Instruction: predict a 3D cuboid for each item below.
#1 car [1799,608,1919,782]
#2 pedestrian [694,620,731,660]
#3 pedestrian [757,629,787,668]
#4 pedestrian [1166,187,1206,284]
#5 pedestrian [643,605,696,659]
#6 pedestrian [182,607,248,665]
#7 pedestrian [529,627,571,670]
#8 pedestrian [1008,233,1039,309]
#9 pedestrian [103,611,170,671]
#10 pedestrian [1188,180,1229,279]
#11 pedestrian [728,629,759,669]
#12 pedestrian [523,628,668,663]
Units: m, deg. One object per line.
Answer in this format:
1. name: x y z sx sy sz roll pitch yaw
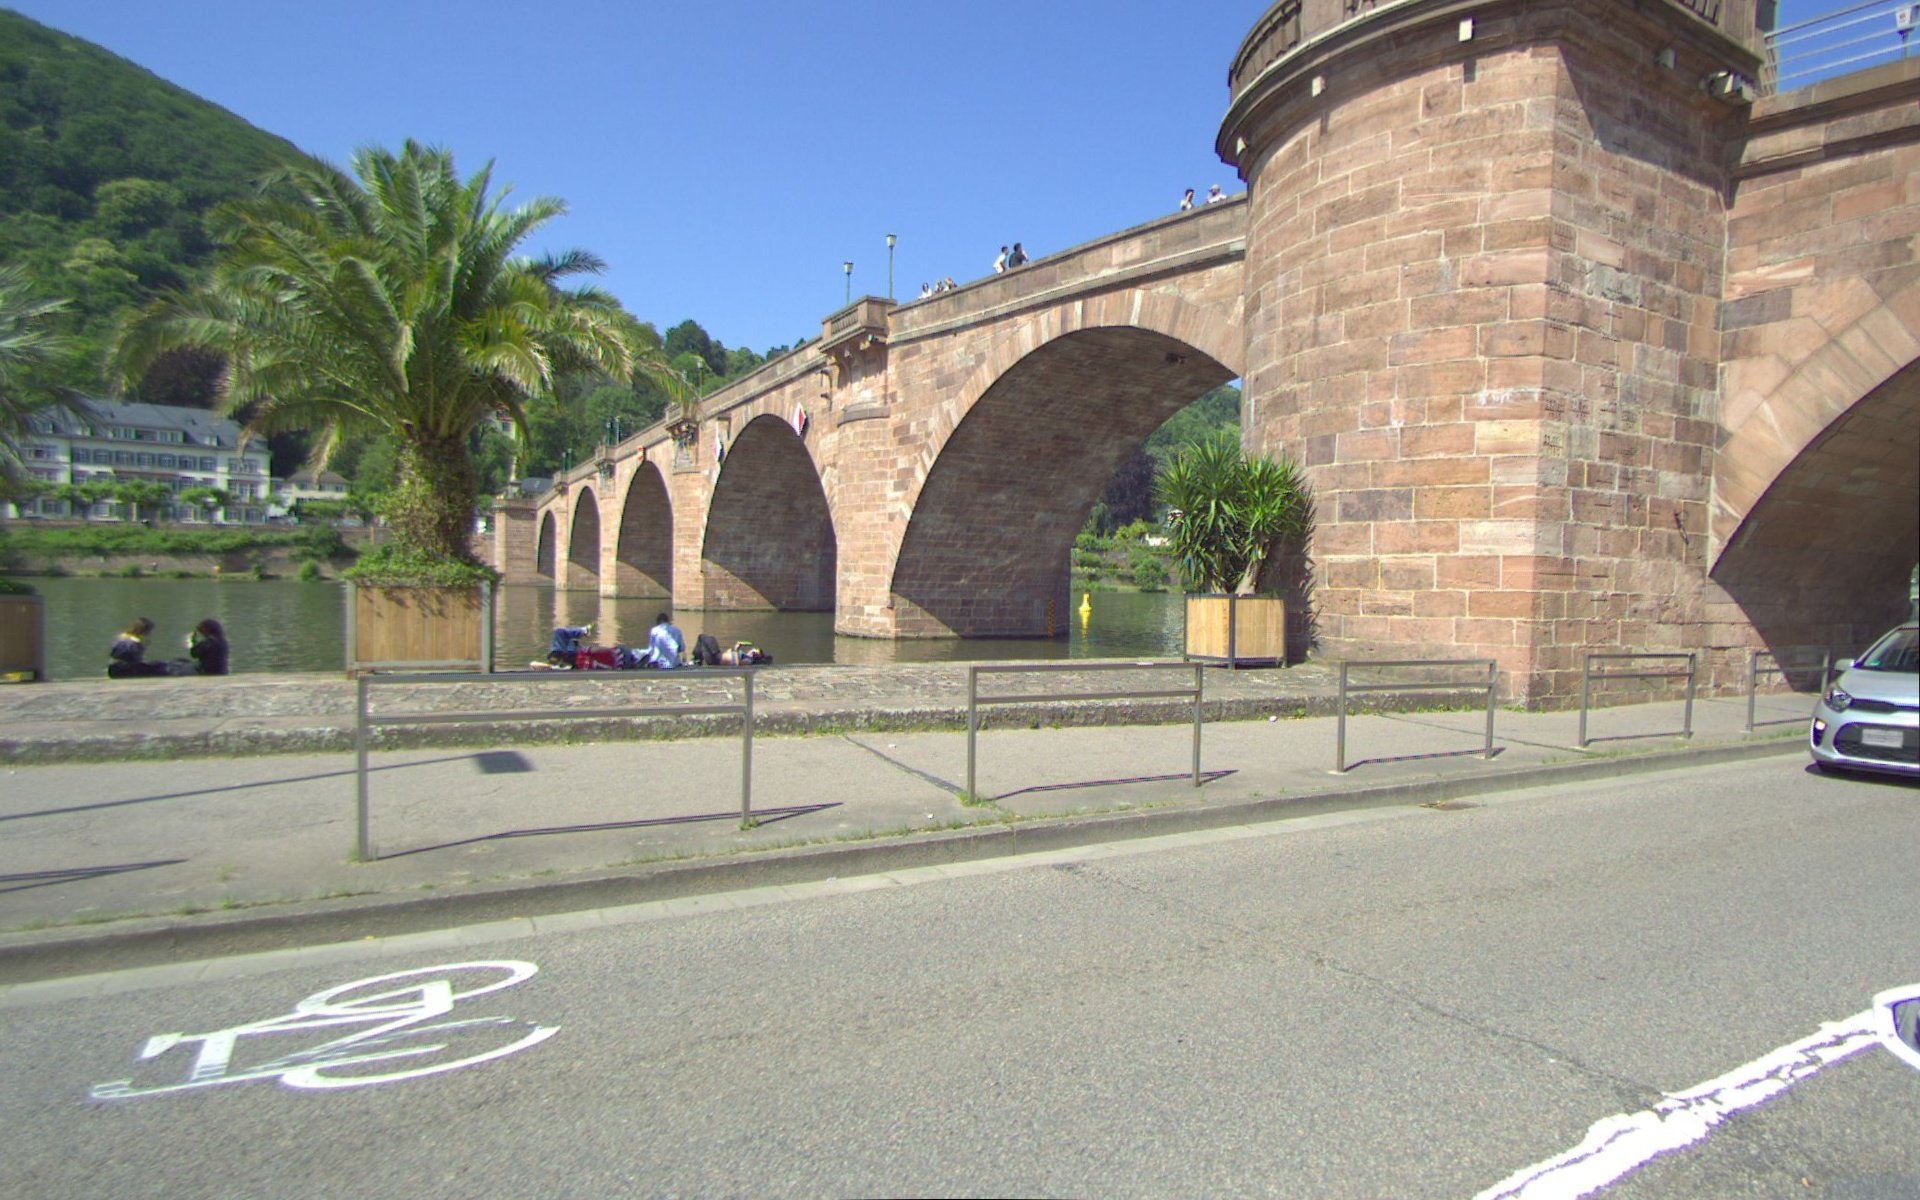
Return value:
1. car: 9.663 0.846 9.478 3.684 1.456 1.527 1 0 -30
2. pedestrian: -3.835 0.613 15.564 0.524 0.572 0.544 1 2 -16
3. pedestrian: -2.966 0.757 15.818 0.408 0.572 0.544 1 2 -16
4. pedestrian: 5.581 -8.982 24.801 0.689 2.040 0.619 1 1 -37
5. pedestrian: -4.299 0.467 14.841 0.700 0.753 0.785 1 2 -20
6. pedestrian: -10.296 0.496 13.903 0.595 0.752 0.694 1 2 -25
7. pedestrian: -5.659 0.675 13.891 0.507 0.571 0.463 2 -3 -20
8. pedestrian: 1.966 -10.176 31.130 0.619 2.040 0.689 1 1 -33
9. pedestrian: -11.091 0.545 13.543 0.523 0.752 0.694 1 2 -25
10. pedestrian: 6.018 -8.966 24.364 0.689 2.040 0.619 1 1 -37
11. pedestrian: -3.377 0.758 15.675 0.425 0.572 0.544 1 2 -16
12. pedestrian: -4.788 0.592 13.215 1.721 0.427 0.642 1 0 -30
